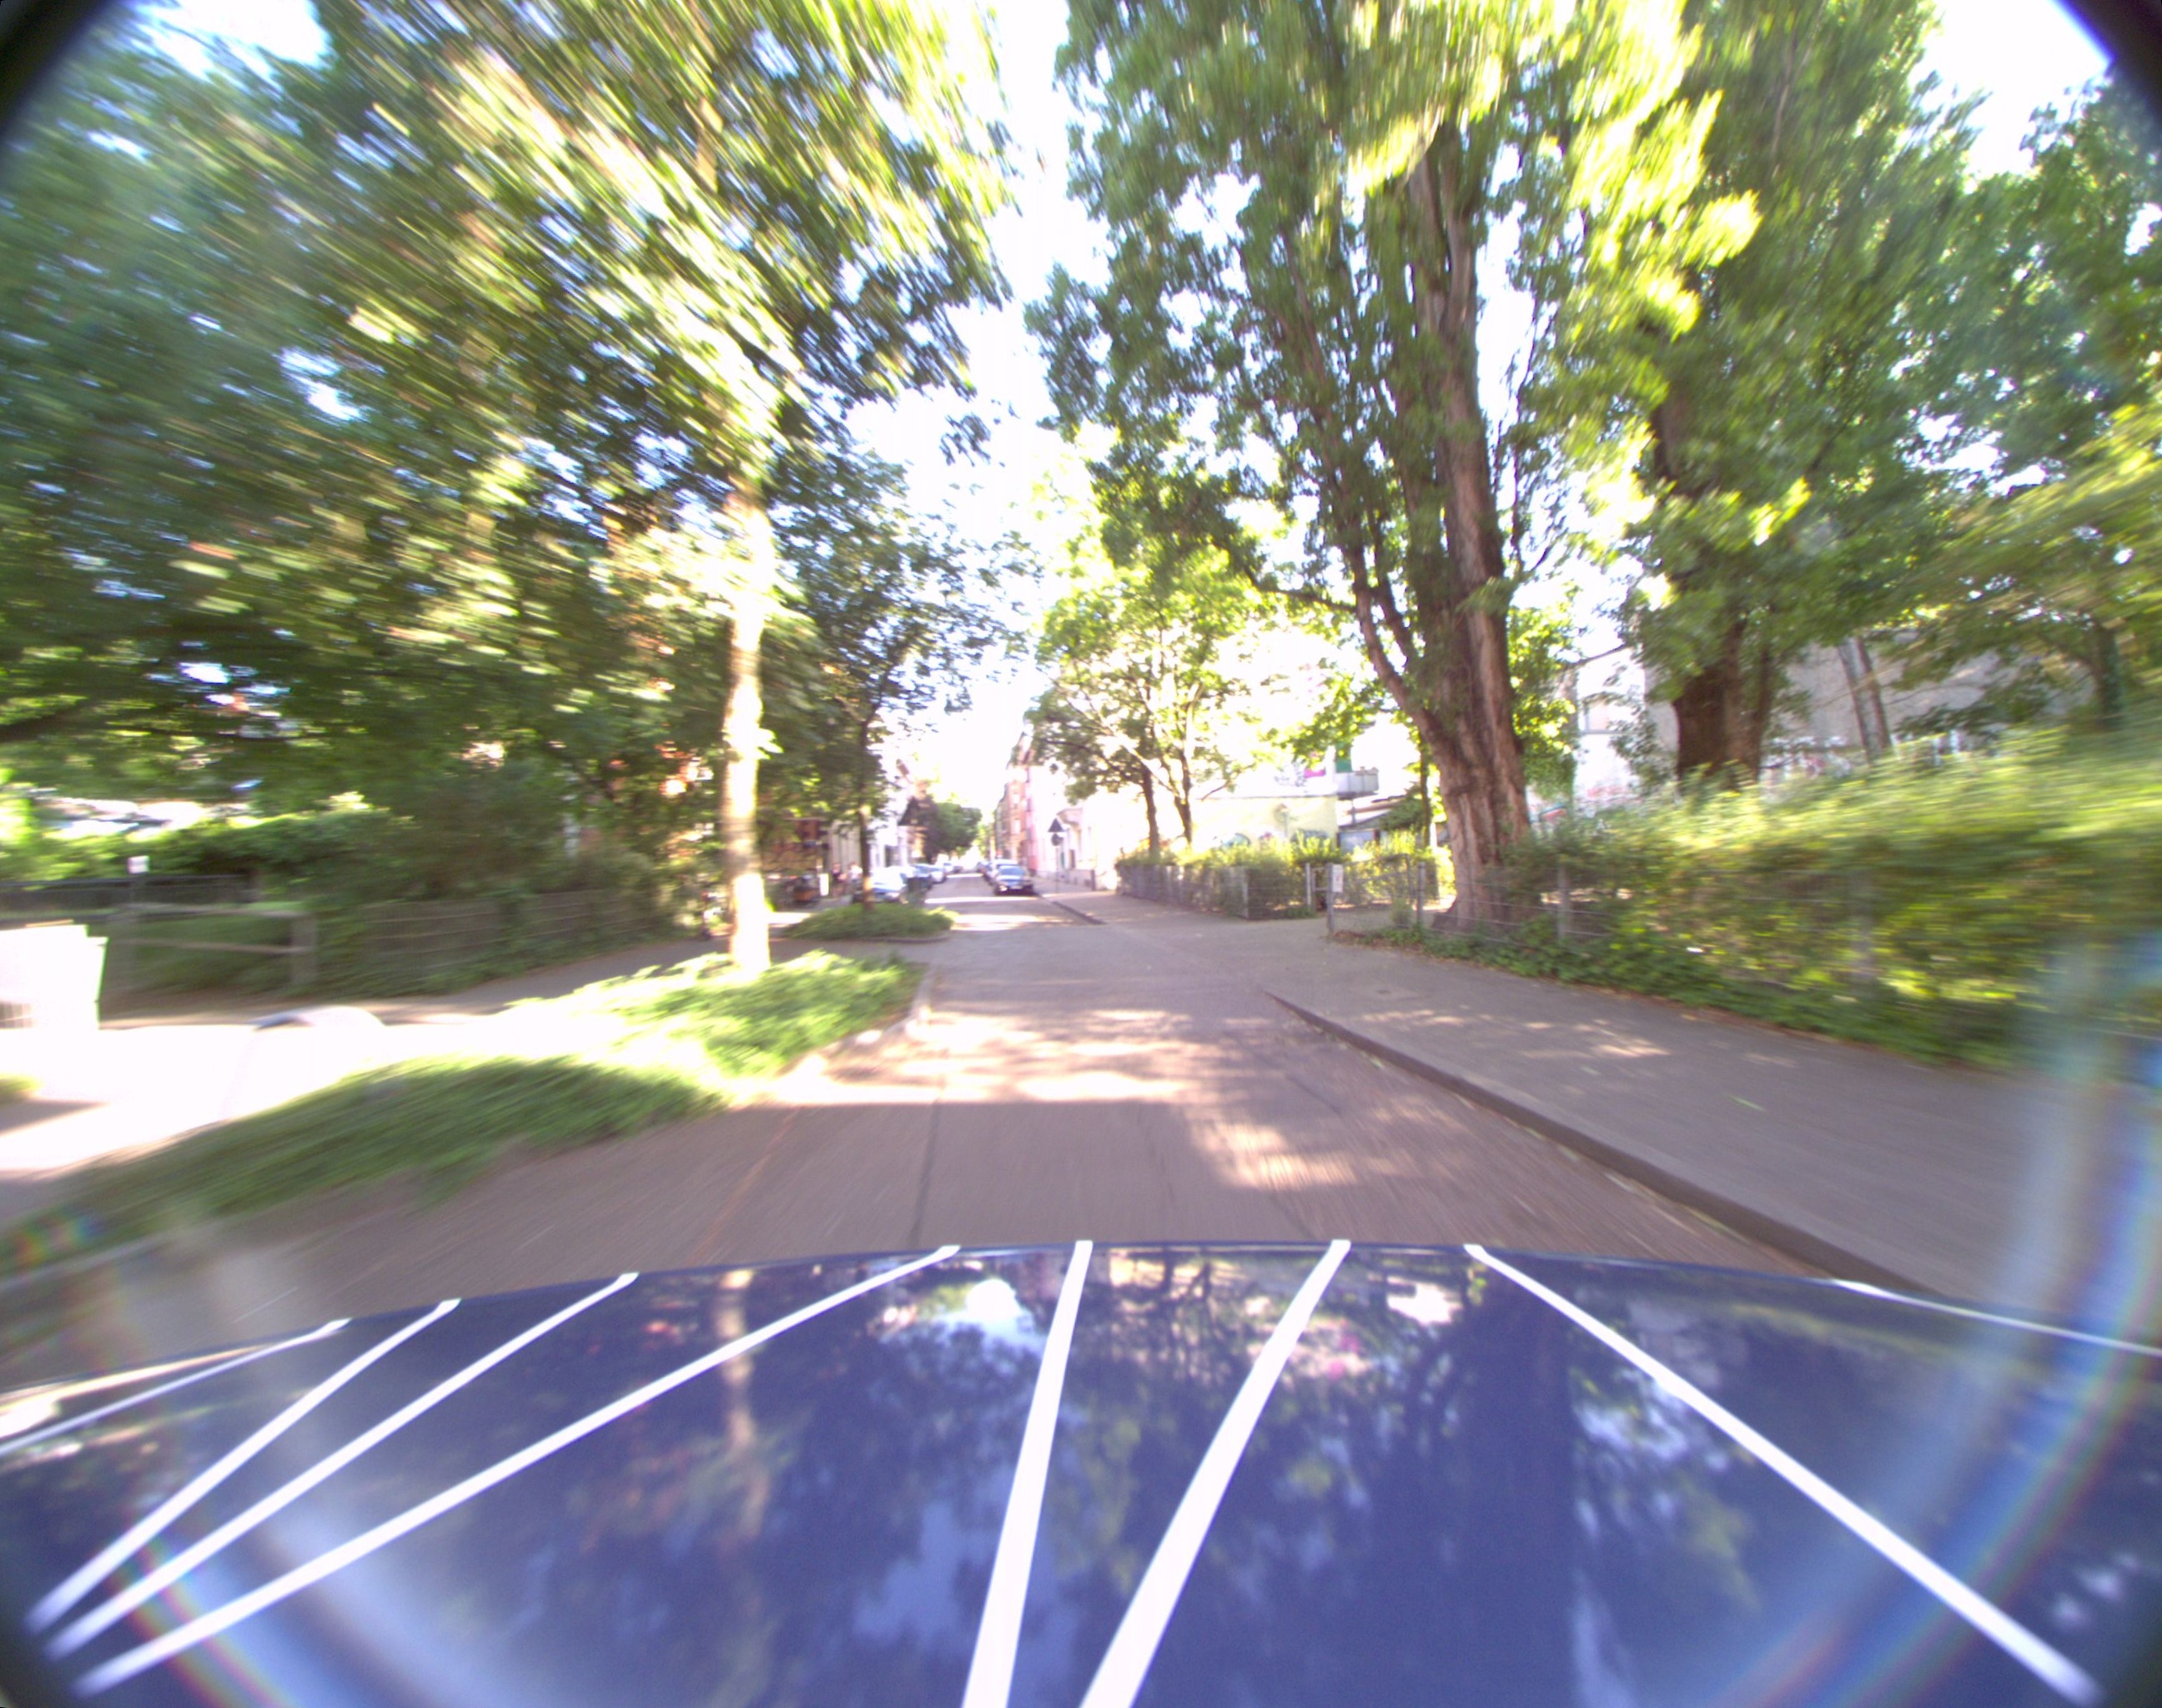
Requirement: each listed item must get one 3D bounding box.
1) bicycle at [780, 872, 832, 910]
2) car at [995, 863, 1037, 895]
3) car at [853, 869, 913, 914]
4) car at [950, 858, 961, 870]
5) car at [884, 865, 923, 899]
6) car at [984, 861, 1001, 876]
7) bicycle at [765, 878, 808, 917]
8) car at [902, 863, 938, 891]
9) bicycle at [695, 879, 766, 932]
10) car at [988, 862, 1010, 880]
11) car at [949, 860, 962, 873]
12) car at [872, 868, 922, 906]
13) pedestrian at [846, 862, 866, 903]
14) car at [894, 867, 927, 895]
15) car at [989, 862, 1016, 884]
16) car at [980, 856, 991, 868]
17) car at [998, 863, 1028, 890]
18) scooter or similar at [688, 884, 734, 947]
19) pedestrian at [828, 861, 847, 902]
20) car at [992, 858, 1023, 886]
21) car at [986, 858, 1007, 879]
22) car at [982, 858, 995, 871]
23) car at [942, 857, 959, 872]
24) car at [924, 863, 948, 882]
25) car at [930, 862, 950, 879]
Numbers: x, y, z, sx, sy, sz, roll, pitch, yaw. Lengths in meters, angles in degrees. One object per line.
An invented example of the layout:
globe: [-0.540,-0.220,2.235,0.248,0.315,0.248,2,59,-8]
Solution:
bicycle: [-10.211,1.352,28.327,1.294,1.294,2.326,0,0,-5]
car: [-3.255,1.171,37.106,1.785,1.435,4.389,1,0,-8]
car: [-7.288,1.322,28.279,1.726,1.485,4.410,-1,0,-9]
car: [-21.615,1.681,131.024,1.770,2.006,4.261,1,0,-8]
car: [-8.890,1.387,38.299,1.598,1.576,3.761,-1,0,-8]
car: [-9.894,1.594,84.674,1.770,1.524,4.100,1,0,-8]
bicycle: [-9.940,1.439,25.697,0.849,1.193,1.981,-2,-1,-6]
car: [-9.983,1.386,47.376,1.771,1.657,4.326,-1,0,-6]
bicycle: [-9.274,1.323,20.245,0.849,1.260,2.691,-2,-1,-6]
car: [-6.969,1.447,64.331,1.770,1.463,3.813,1,0,-8]
car: [-18.593,1.812,112.623,1.770,1.846,4.282,-2,0,-8]
car: [-7.937,1.378,33.076,1.664,1.485,4.350,-1,0,-8]
pedestrian: [-9.538,1.188,32.231,0.712,1.699,0.752,1,0,-8]
car: [-9.513,1.456,42.611,1.599,1.442,4.000,-1,0,-10]
car: [-5.661,1.353,55.320,1.675,1.518,4.084,1,0,-3]
car: [-16.849,1.400,133.835,1.770,2.074,4.261,1,0,-8]
car: [-3.853,1.237,42.906,1.598,1.442,3.483,1,0,-6]
scooter or similar: [-7.956,1.283,16.320,0.547,1.254,1.469,-1,0,-39]
pedestrian: [-10.249,1.149,32.000,0.599,1.699,0.706,1,0,-8]
car: [-4.919,1.166,50.443,1.755,1.731,4.311,1,0,-9]
car: [-7.755,1.327,69.620,1.770,1.814,4.100,1,0,-8]
car: [-13.774,1.568,113.303,1.770,1.846,3.990,1,0,-8]
car: [-18.154,1.461,106.022,1.867,1.969,4.479,1,0,-5]
car: [-12.370,1.585,65.007,1.770,1.508,4.100,1,0,-8]
car: [-13.703,1.582,73.888,1.770,1.524,4.100,0,0,-8]
